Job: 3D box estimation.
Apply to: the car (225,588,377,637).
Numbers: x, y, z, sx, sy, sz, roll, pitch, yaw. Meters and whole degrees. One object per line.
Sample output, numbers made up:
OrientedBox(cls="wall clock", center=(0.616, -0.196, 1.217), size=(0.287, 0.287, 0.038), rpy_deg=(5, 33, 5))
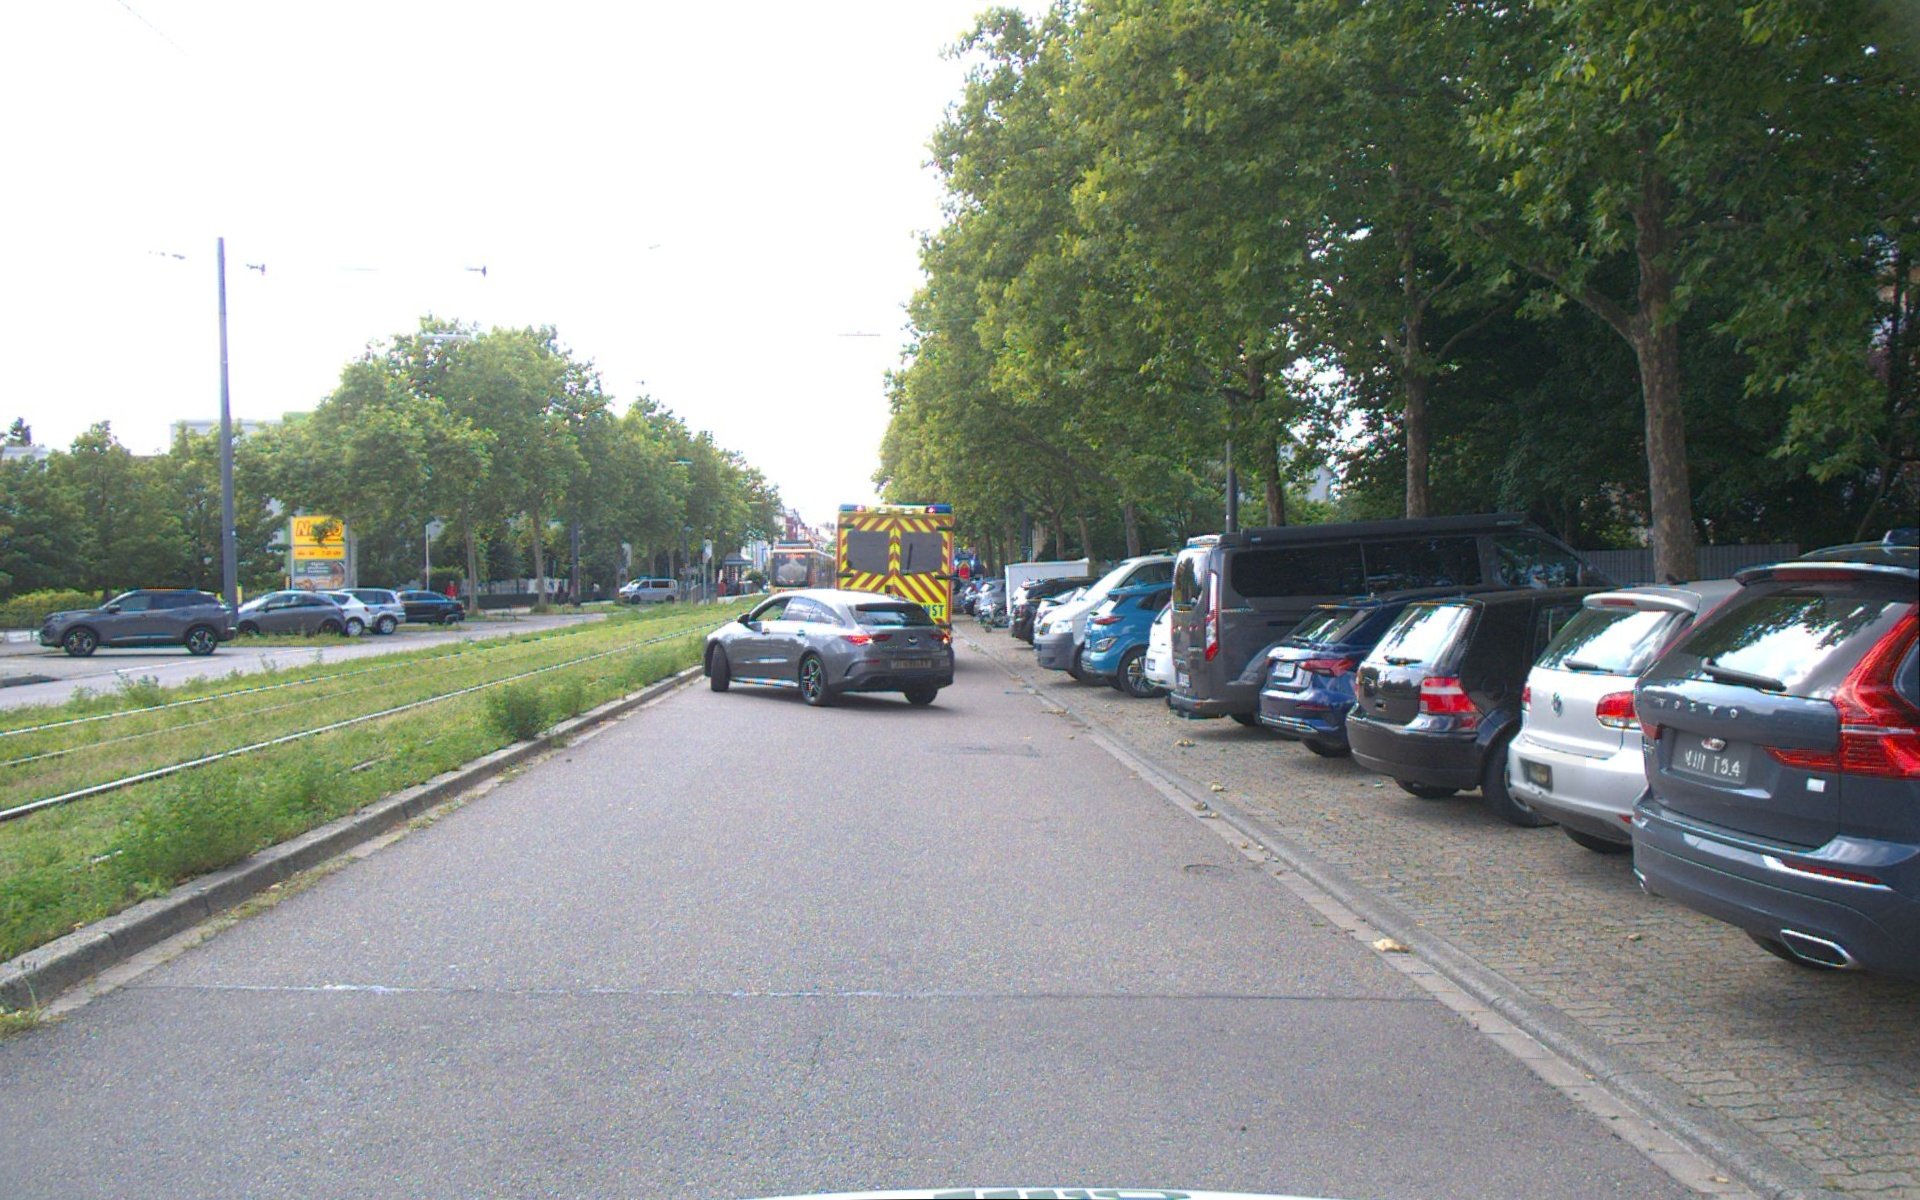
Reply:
OrientedBox(cls="car", center=(-21.072, 0.389, 52.977), size=(4.192, 1.508, 1.857), rpy_deg=(0, 0, -39))

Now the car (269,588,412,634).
OrientedBox(cls="car", center=(-20.955, 0.370, 56.015), size=(4.192, 1.508, 1.857), rpy_deg=(0, 0, -39))

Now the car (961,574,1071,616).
OrientedBox(cls="car", center=(2.357, -0.227, 70.712), size=(4.458, 1.636, 1.853), rpy_deg=(-2, 0, -7))

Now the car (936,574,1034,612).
OrientedBox(cls="car", center=(1.192, -0.345, 78.900), size=(4.458, 1.636, 1.853), rpy_deg=(-2, 0, -7))

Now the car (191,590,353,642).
OrientedBox(cls="car", center=(-20.806, 0.469, 50.090), size=(4.192, 1.508, 1.857), rpy_deg=(0, 0, -39))

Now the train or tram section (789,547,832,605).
OrientedBox(cls="train or tram section", center=(-9.973, -1.563, 110.980), size=(2.462, 3.646, 7.441), rpy_deg=(-2, 0, -3))

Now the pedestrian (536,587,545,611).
OrientedBox(cls="pedestrian", center=(-25.928, -0.068, 102.257), size=(0.413, 1.499, 0.467), rpy_deg=(-1, 0, -7))

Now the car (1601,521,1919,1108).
OrientedBox(cls="car", center=(4.677, 0.544, 5.627), size=(4.292, 1.668, 1.756), rpy_deg=(-2, 0, -1))

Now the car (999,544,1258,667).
OrientedBox(cls="car", center=(3.078, 0.091, 30.683), size=(4.458, 2.079, 1.853), rpy_deg=(-2, 0, -7))

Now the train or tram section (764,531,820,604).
OrientedBox(cls="train or tram section", center=(-8.956, -1.648, 88.694), size=(2.462, 3.646, 7.441), rpy_deg=(-2, 0, -3))

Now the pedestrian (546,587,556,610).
OrientedBox(cls="pedestrian", center=(-25.735, -0.099, 104.144), size=(0.412, 1.439, 0.467), rpy_deg=(-1, 0, 22))

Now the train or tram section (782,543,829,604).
OrientedBox(cls="train or tram section", center=(-9.641, -1.591, 103.549), size=(2.462, 3.646, 7.441), rpy_deg=(-2, 0, -3))

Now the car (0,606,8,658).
OrientedBox(cls="car", center=(-31.171, 0.946, 49.821), size=(3.905, 1.592, 1.777), rpy_deg=(1, 0, 0))

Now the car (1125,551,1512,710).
OrientedBox(cls="car", center=(4.474, 0.356, 21.076), size=(4.455, 1.797, 1.855), rpy_deg=(-2, 0, -3))

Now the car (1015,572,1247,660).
OrientedBox(cls="car", center=(3.491, 0.303, 34.176), size=(4.458, 1.636, 1.853), rpy_deg=(-2, 0, -7))

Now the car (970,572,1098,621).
OrientedBox(cls="car", center=(2.696, -0.136, 60.871), size=(4.458, 1.636, 1.853), rpy_deg=(-2, 0, -7))

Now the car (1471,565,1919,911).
OrientedBox(cls="car", center=(4.854, 0.586, 8.477), size=(3.887, 1.520, 1.755), rpy_deg=(-2, 0, -3))

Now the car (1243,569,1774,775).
OrientedBox(cls="car", center=(4.535, 0.564, 14.046), size=(3.887, 1.520, 1.755), rpy_deg=(-2, 0, -3))

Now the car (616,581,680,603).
OrientedBox(cls="car", center=(-24.232, -0.632, 128.648), size=(4.588, 1.661, 1.855), rpy_deg=(-1, 1, -42))

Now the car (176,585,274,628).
OrientedBox(cls="car", center=(-32.494, 0.290, 73.082), size=(3.912, 1.780, 1.997), rpy_deg=(2, 1, 29))

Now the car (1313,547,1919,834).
OrientedBox(cls="car", center=(4.578, 0.519, 11.194), size=(3.897, 1.633, 1.750), rpy_deg=(-2, 0, -13))

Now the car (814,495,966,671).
OrientedBox(cls="car", center=(-1.281, -0.319, 32.516), size=(2.588, 3.018, 6.298), rpy_deg=(2, 0, -1))

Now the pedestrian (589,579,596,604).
OrientedBox(cls="pedestrian", center=(-27.700, -0.647, 124.678), size=(0.457, 1.860, 0.422), rpy_deg=(-1, 0, -4))

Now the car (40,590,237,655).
OrientedBox(cls="car", center=(-19.807, 0.522, 39.991), size=(4.172, 1.508, 1.867), rpy_deg=(0, 0, -28))

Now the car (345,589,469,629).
OrientedBox(cls="car", center=(-21.445, 0.330, 64.202), size=(4.199, 1.508, 1.854), rpy_deg=(0, 0, -42))

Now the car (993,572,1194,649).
OrientedBox(cls="car", center=(3.137, 0.231, 39.320), size=(4.458, 1.636, 1.853), rpy_deg=(-2, 0, -7))

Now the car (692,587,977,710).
OrientedBox(cls="car", center=(-1.783, 0.573, 22.036), size=(1.747, 1.409, 4.411), rpy_deg=(1, 0, -36))

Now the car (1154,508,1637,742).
OrientedBox(cls="car", center=(4.400, 0.224, 17.145), size=(4.455, 2.160, 1.855), rpy_deg=(-2, 0, -3))

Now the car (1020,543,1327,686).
OrientedBox(cls="car", center=(3.311, 0.198, 26.096), size=(4.458, 2.035, 1.853), rpy_deg=(-2, 0, -7))

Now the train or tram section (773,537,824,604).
OrientedBox(cls="train or tram section", center=(-9.302, -1.620, 96.115), size=(2.462, 3.646, 7.441), rpy_deg=(-2, 0, -3))

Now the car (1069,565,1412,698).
OrientedBox(cls="car", center=(3.933, 0.412, 23.587), size=(4.459, 1.689, 1.853), rpy_deg=(-2, 0, -7))

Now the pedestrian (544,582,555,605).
OrientedBox(cls="pedestrian", center=(-27.860, -0.449, 112.245), size=(0.620, 1.578, 0.621), rpy_deg=(-1, 0, -6))

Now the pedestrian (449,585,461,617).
OrientedBox(cls="pedestrian", center=(-26.676, 0.052, 87.372), size=(0.457, 1.706, 0.603), rpy_deg=(-1, 0, -4))
